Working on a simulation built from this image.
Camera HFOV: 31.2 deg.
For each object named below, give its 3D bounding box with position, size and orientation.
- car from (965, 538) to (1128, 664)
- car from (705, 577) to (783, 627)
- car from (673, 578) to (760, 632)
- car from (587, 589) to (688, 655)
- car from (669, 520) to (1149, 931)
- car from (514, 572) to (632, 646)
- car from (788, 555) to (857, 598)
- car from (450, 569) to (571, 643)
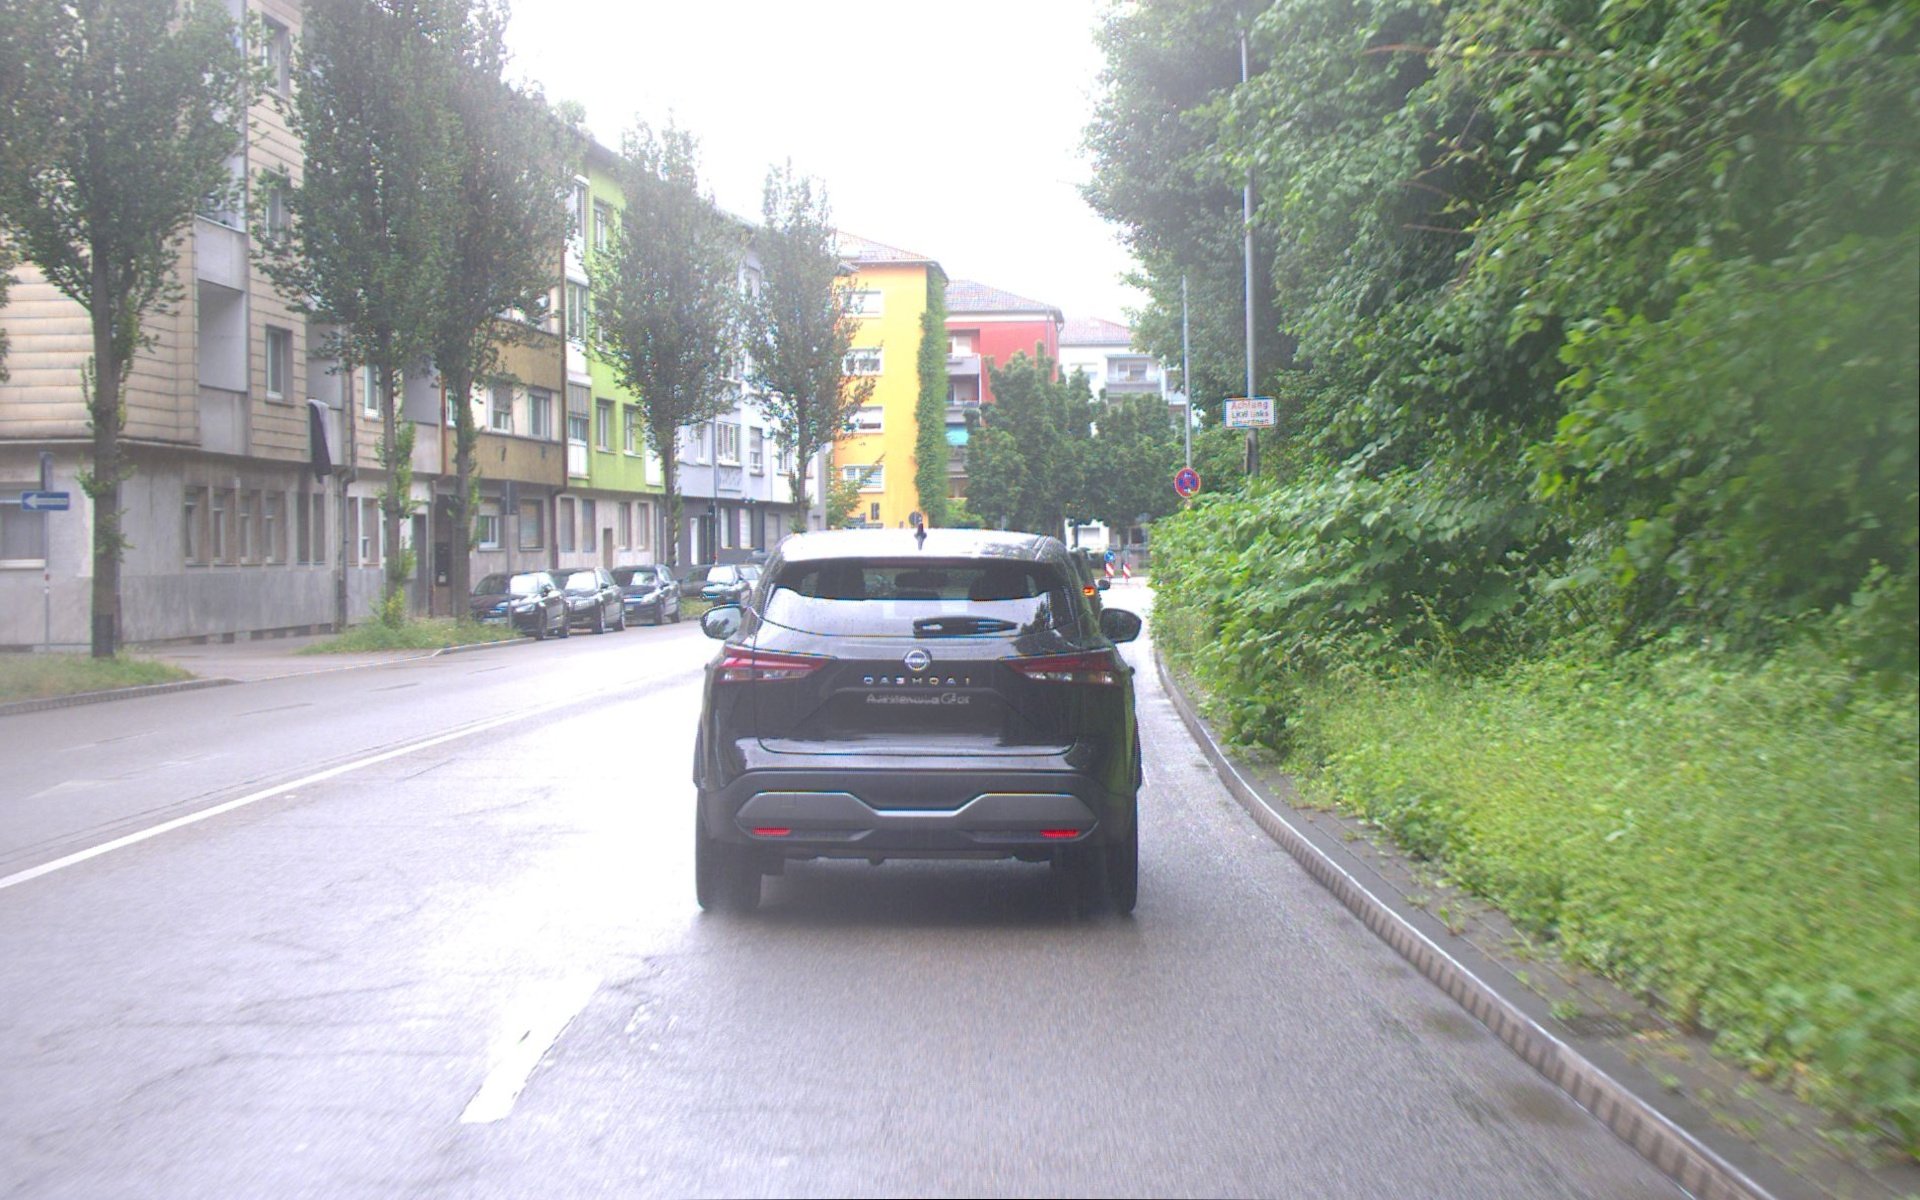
[{"bbox_3d":[1.265,-0.011,48.401,1.887,1.705,3.999,0,1,7],"label":"car"},{"bbox_3d":[-6.465,0.053,103.152,1.680,1.371,3.999,-2,1,5],"label":"car"},{"bbox_3d":[-6.844,0.124,96.880,1.817,1.367,4.680,-2,1,3],"label":"car"},{"bbox_3d":[-7.977,0.520,85.353,1.718,1.483,4.514,-2,1,4],"label":"car"},{"bbox_3d":[-0.234,0.453,15.373,1.844,1.577,4.000,1,1,-1],"label":"car"},{"bbox_3d":[-8.590,0.179,76.648,1.817,1.483,4.789,-2,1,3],"label":"car"},{"bbox_3d":[-4.803,-0.845,120.947,1.688,1.353,4.578,-3,1,6],"label":"car"},{"bbox_3d":[-9.103,0.103,69.873,1.626,1.382,3.988,-1,1,4],"label":"car"}]
